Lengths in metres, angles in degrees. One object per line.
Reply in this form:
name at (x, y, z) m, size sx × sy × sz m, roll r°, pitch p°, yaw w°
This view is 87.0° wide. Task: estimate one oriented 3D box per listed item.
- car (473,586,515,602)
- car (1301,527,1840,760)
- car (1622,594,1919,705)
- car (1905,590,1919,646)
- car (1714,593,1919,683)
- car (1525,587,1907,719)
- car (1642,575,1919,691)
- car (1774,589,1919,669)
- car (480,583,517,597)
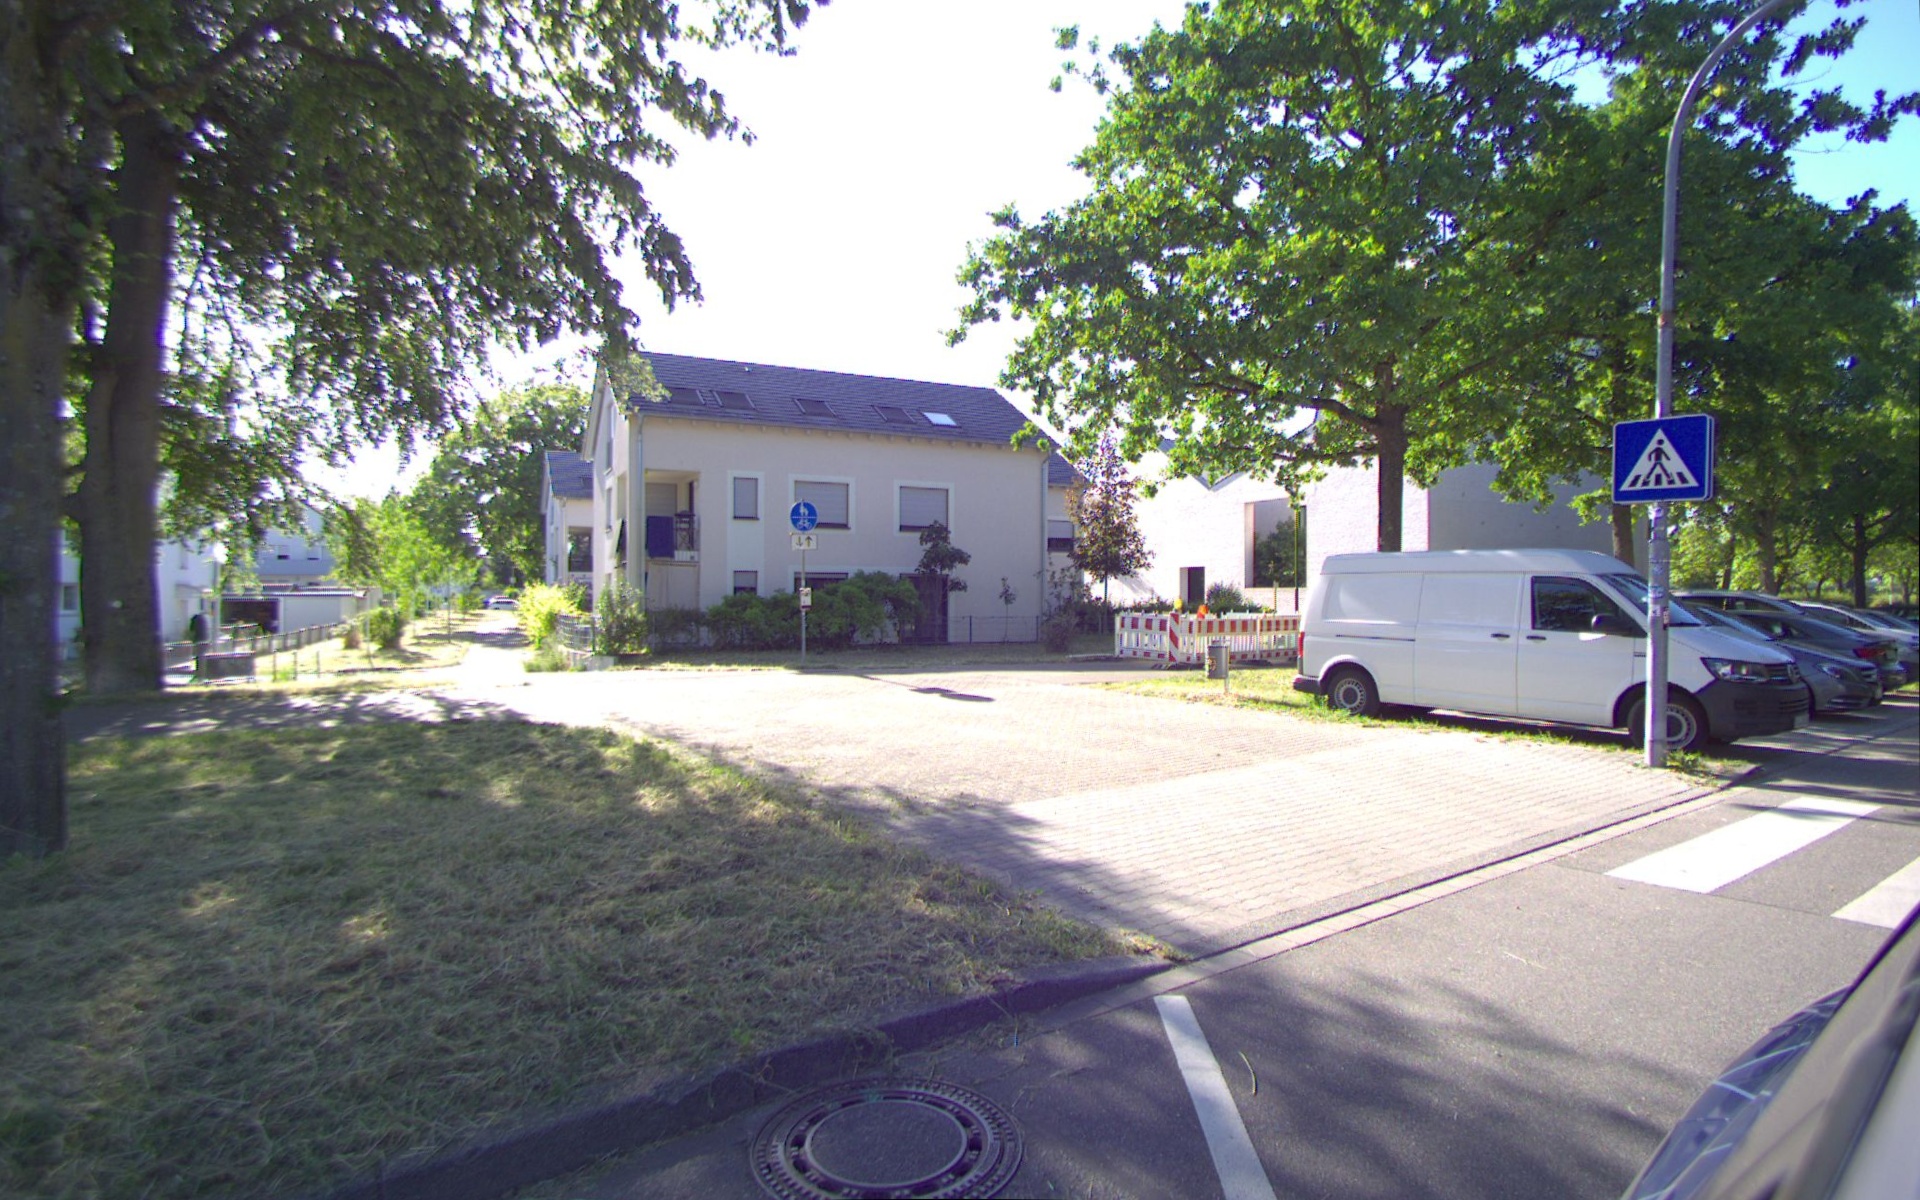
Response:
car at (-60.009, -0.773, 130.281) m, size 4.539 × 2.039 × 1.997 m, roll 0°, pitch -1°, yaw -41°
car at (6.691, 0.356, 11.739) m, size 1.855 × 2.107 × 5.048 m, roll 0°, pitch 1°, yaw -37°
car at (12.798, 0.714, 16.098) m, size 1.420 × 1.562 × 3.518 m, roll 0°, pitch -1°, yaw -35°
car at (32.273, 0.564, 31.157) m, size 1.503 × 1.765 × 4.398 m, roll 0°, pitch -1°, yaw -35°
car at (18.103, 0.726, 20.713) m, size 1.503 × 1.700 × 4.022 m, roll 0°, pitch -1°, yaw -35°
car at (10.488, 0.651, 14.336) m, size 1.724 × 1.583 × 4.000 m, roll 0°, pitch -1°, yaw -35°
car at (14.635, 0.526, 17.826) m, size 1.680 × 1.816 × 4.022 m, roll 0°, pitch -1°, yaw -35°
car at (20.631, 0.619, 22.242) m, size 1.503 × 1.681 × 4.022 m, roll 0°, pitch -1°, yaw -35°
car at (-64.603, -1.391, 141.704) m, size 4.524 × 2.039 × 2.004 m, roll 0°, pitch -1°, yaw -22°
